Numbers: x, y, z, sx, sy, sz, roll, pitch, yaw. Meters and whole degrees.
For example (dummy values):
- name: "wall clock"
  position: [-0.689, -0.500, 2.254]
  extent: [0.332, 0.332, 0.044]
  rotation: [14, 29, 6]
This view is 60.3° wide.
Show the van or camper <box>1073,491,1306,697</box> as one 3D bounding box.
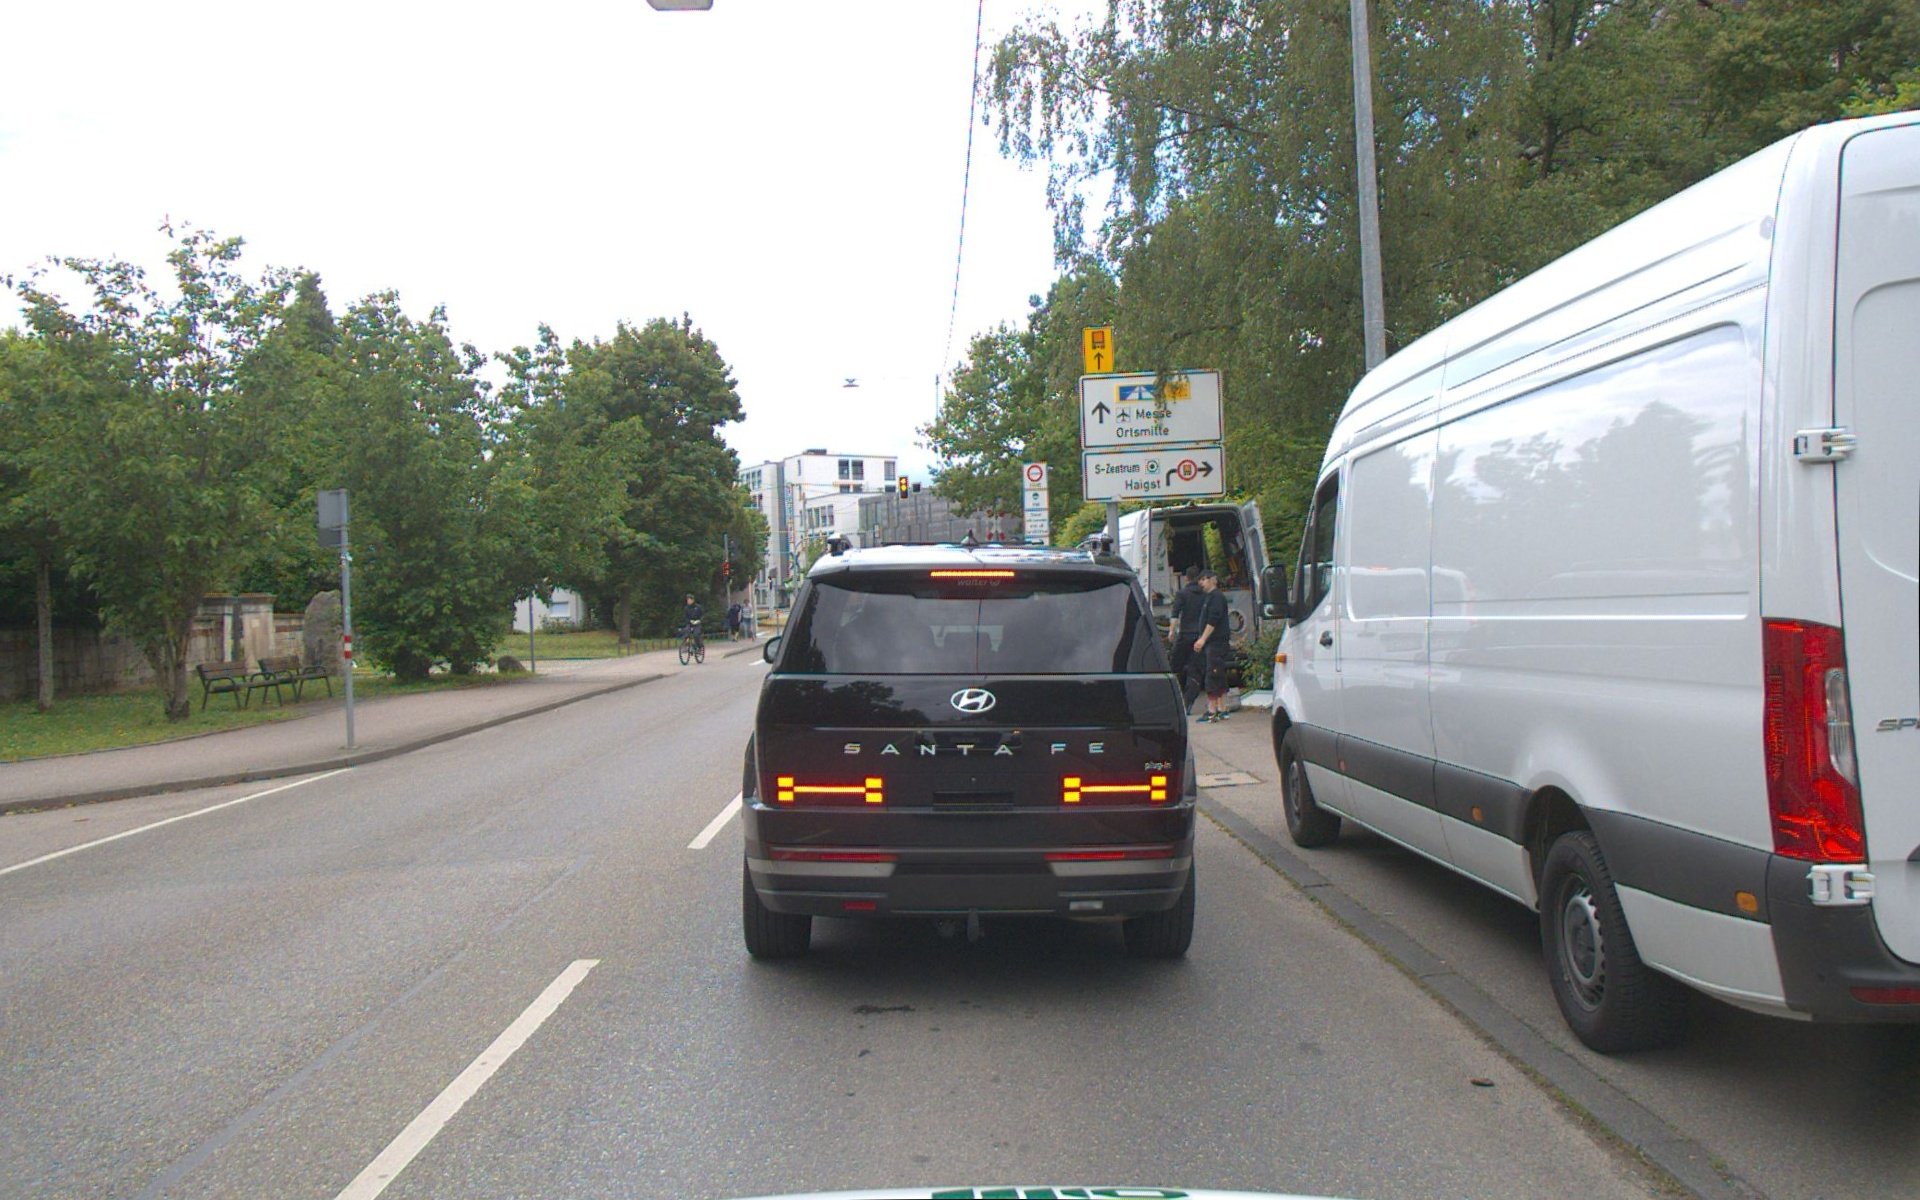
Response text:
- name: "van or camper"
  position: [3.279, -0.031, 25.308]
  extent: [2.294, 2.537, 6.600]
  rotation: [-5, -1, -2]

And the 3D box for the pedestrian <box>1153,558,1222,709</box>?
- name: "pedestrian"
  position: [2.694, 0.390, 19.651]
  extent: [0.772, 1.751, 0.753]
  rotation: [1, -1, 6]

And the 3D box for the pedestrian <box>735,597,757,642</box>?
- name: "pedestrian"
  position: [-8.507, 0.769, 65.828]
  extent: [0.751, 1.779, 0.904]
  rotation: [0, 0, -2]

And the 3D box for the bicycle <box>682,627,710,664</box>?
- name: "bicycle"
  position: [-7.305, 1.255, 45.785]
  extent: [0.485, 0.981, 1.748]
  rotation: [1, 0, -1]

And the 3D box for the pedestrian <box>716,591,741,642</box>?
- name: "pedestrian"
  position: [-9.358, 0.654, 66.928]
  extent: [0.812, 2.049, 1.047]
  rotation: [1, 0, 1]

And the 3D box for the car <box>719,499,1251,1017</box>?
- name: "car"
  position: [0.064, 0.570, 7.855]
  extent: [1.858, 1.807, 3.993]
  rotation: [1, 0, -1]

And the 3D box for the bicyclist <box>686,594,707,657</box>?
- name: "bicyclist"
  position: [-7.291, 0.708, 45.767]
  extent: [0.477, 1.713, 0.588]
  rotation: [1, -1, -1]

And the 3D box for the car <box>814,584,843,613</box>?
- name: "car"
  position: [-11.431, -0.136, 143.765]
  extent: [2.288, 2.356, 4.950]
  rotation: [-2, 0, -7]

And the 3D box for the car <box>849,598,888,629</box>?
- name: "car"
  position: [-4.569, 0.668, 83.047]
  extent: [1.721, 1.427, 4.413]
  rotation: [-4, 0, -1]

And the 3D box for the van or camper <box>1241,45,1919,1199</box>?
- name: "van or camper"
  position: [2.871, 0.032, 7.027]
  extent: [1.951, 2.670, 6.543]
  rotation: [-5, 0, -1]

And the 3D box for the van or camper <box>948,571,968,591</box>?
- name: "van or camper"
  position: [-0.227, -1.941, 172.494]
  extent: [1.760, 2.033, 3.820]
  rotation: [1, 0, -4]

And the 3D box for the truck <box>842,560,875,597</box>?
- name: "truck"
  position: [-11.598, -2.401, 188.112]
  extent: [3.048, 3.926, 9.607]
  rotation: [-2, 0, -7]

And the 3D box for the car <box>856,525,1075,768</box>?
- name: "car"
  position: [0.020, 0.410, 16.320]
  extent: [1.858, 2.077, 3.993]
  rotation: [1, 0, -1]

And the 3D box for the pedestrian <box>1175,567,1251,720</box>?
- name: "pedestrian"
  position: [2.867, 0.486, 18.804]
  extent: [0.721, 1.672, 0.802]
  rotation: [-3, -1, 5]
